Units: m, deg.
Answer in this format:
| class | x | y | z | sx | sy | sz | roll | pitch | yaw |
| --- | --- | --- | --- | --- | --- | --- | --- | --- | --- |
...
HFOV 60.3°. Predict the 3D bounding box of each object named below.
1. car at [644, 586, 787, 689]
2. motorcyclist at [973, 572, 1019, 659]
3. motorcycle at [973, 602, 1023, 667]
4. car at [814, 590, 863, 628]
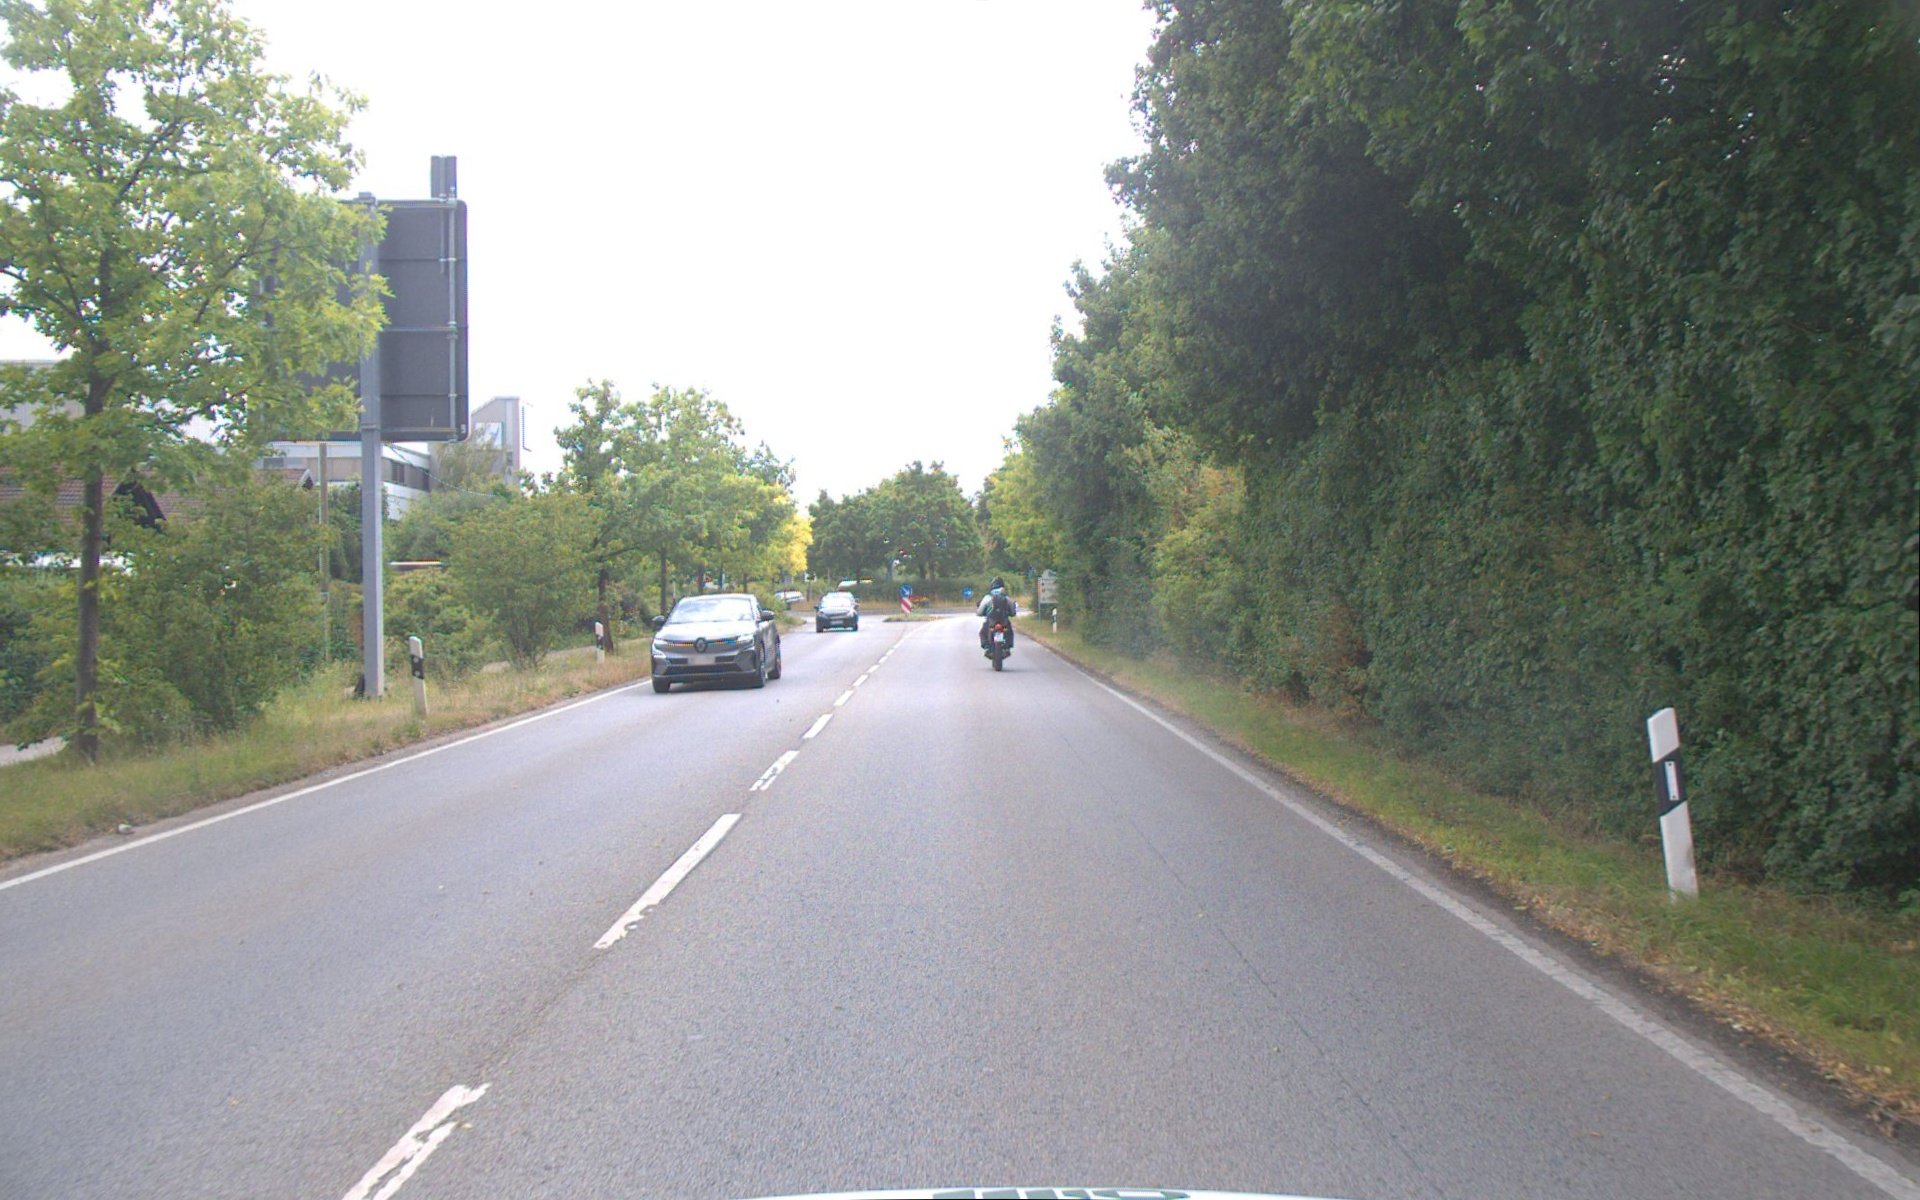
| class | x | y | z | sx | sy | sz | roll | pitch | yaw |
| --- | --- | --- | --- | --- | --- | --- | --- | --- | --- |
| car | -4.004 | 0.566 | 27.729 | 1.779 | 1.520 | 4.203 | -2 | 0 | -1 |
| motorcyclist | 0.706 | 0.295 | 32.447 | 0.844 | 1.652 | 1.190 | -1 | 0 | -1 |
| motorcycle | 0.725 | 0.649 | 32.387 | 0.878 | 1.178 | 2.620 | -1 | 0 | -1 |
| car | -4.884 | 0.339 | 66.830 | 1.642 | 1.436 | 4.012 | -3 | 0 | -1 |
